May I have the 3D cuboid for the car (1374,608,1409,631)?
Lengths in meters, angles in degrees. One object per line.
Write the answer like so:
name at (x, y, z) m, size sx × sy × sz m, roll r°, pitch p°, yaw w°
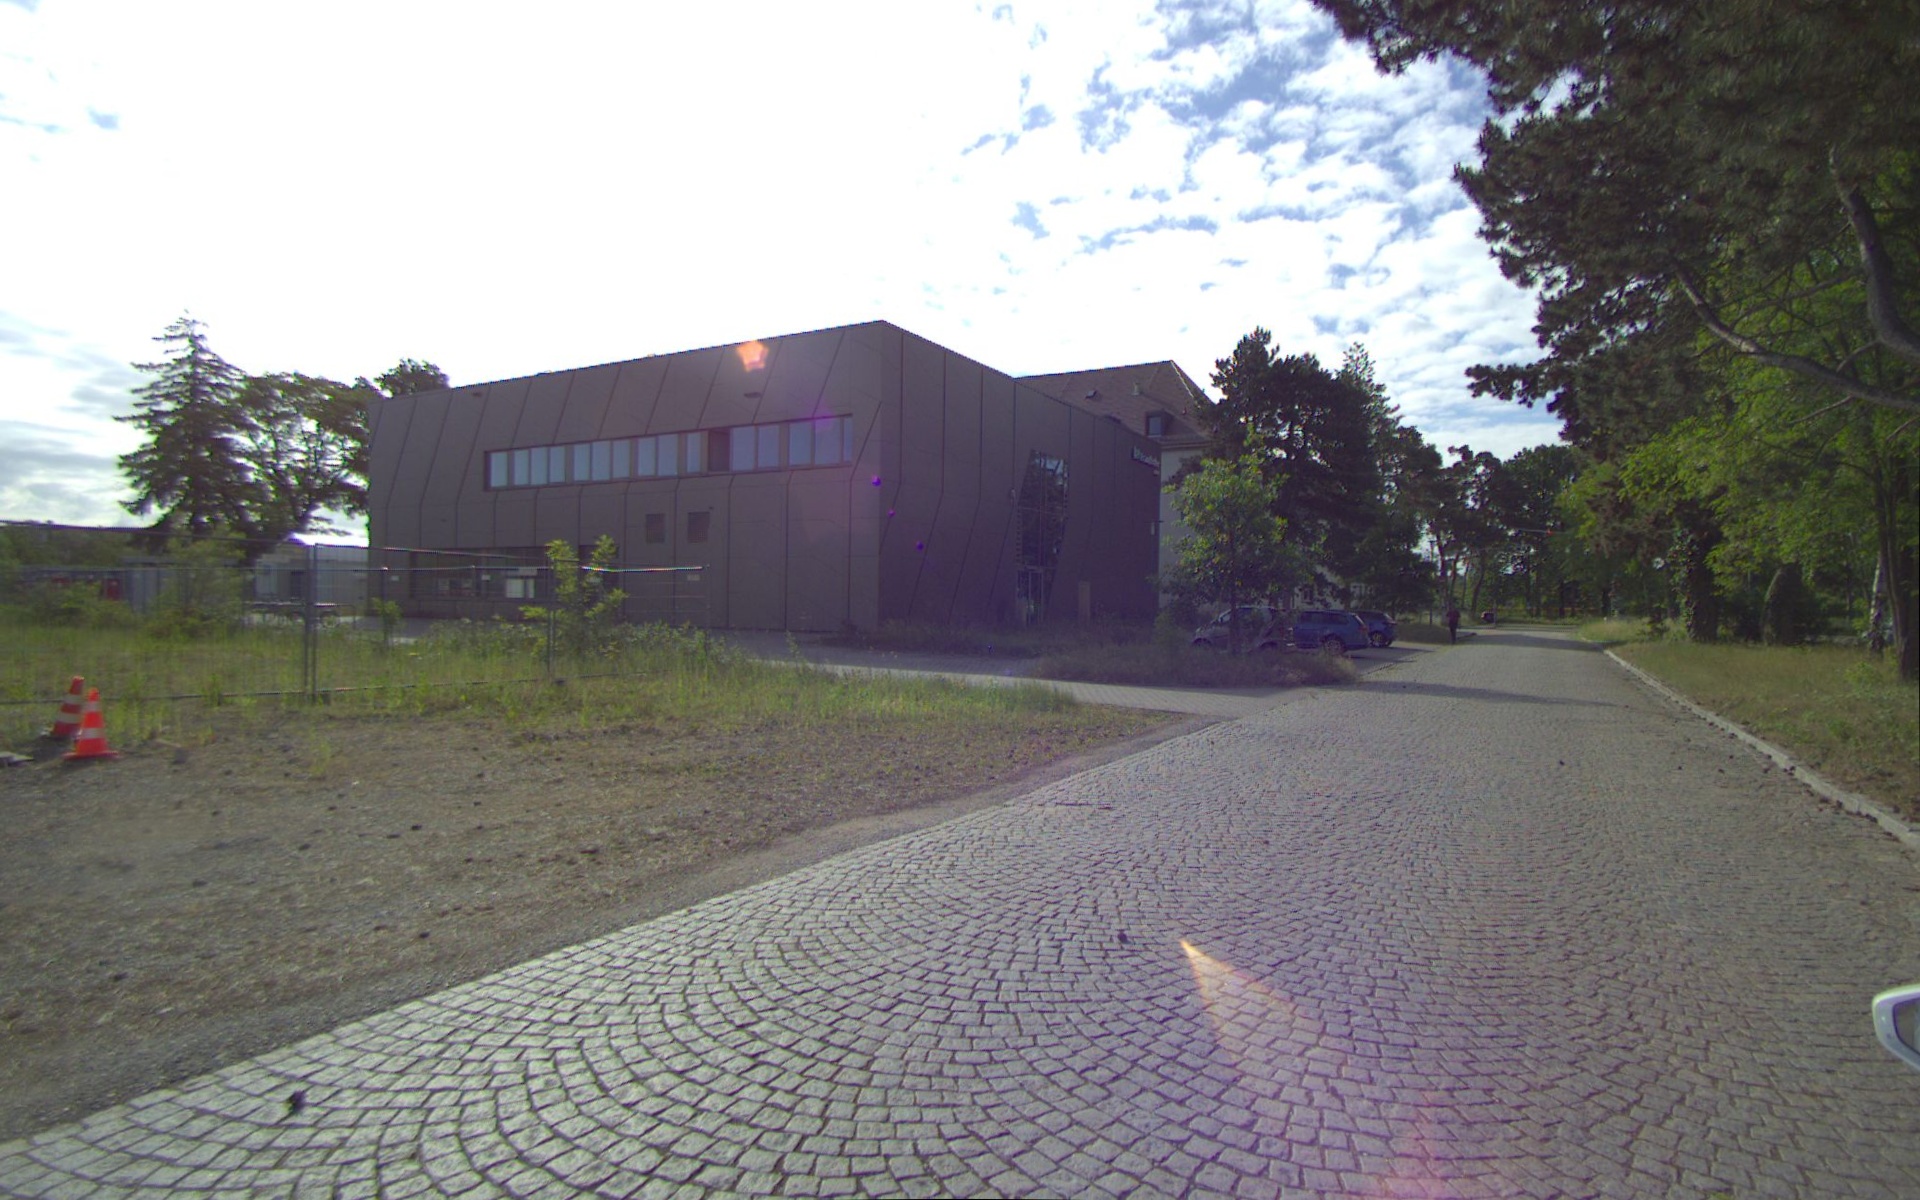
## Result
car at (32.989, 1.474, 76.707) m, size 1.965 × 1.639 × 3.992 m, roll 1°, pitch 0°, yaw 31°

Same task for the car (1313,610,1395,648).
car at (16.191, 1.174, 41.272) m, size 3.035 × 1.469 × 1.491 m, roll 1°, pitch 0°, yaw 25°

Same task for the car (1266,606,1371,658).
car at (11.803, 1.008, 33.044) m, size 3.036 × 1.477 × 1.490 m, roll 3°, pitch 1°, yaw 26°

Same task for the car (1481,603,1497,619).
car at (69.873, 1.470, 132.718) m, size 1.673 × 2.040 × 3.992 m, roll 1°, pitch 0°, yaw 31°

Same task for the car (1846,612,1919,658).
car at (33.982, 1.224, 36.452) m, size 1.858 × 1.561 × 3.993 m, roll 1°, pitch 0°, yaw 29°

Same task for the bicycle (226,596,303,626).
bicycle at (-24.964, 0.390, 36.097) m, size 0.929 × 1.058 × 2.066 m, roll 1°, pitch 0°, yaw 28°

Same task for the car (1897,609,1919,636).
car at (61.255, 1.422, 63.628) m, size 1.965 × 1.639 × 3.992 m, roll 1°, pitch 0°, yaw 31°

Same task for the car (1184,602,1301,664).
car at (7.606, 0.857, 27.046) m, size 2.723 × 1.570 × 1.421 m, roll 1°, pitch 0°, yaw 35°

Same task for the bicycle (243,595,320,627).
bicycle at (-24.007, 0.385, 35.553) m, size 0.929 × 1.058 × 2.066 m, roll 1°, pitch 0°, yaw 28°

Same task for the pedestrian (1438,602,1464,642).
pedestrian at (23.209, 1.040, 47.481) m, size 0.940 × 1.869 × 0.956 m, roll 1°, pitch 0°, yaw 17°

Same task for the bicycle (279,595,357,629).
bicycle at (-22.044, 0.402, 34.514) m, size 0.929 × 1.101 × 2.066 m, roll 1°, pitch 0°, yaw 28°
